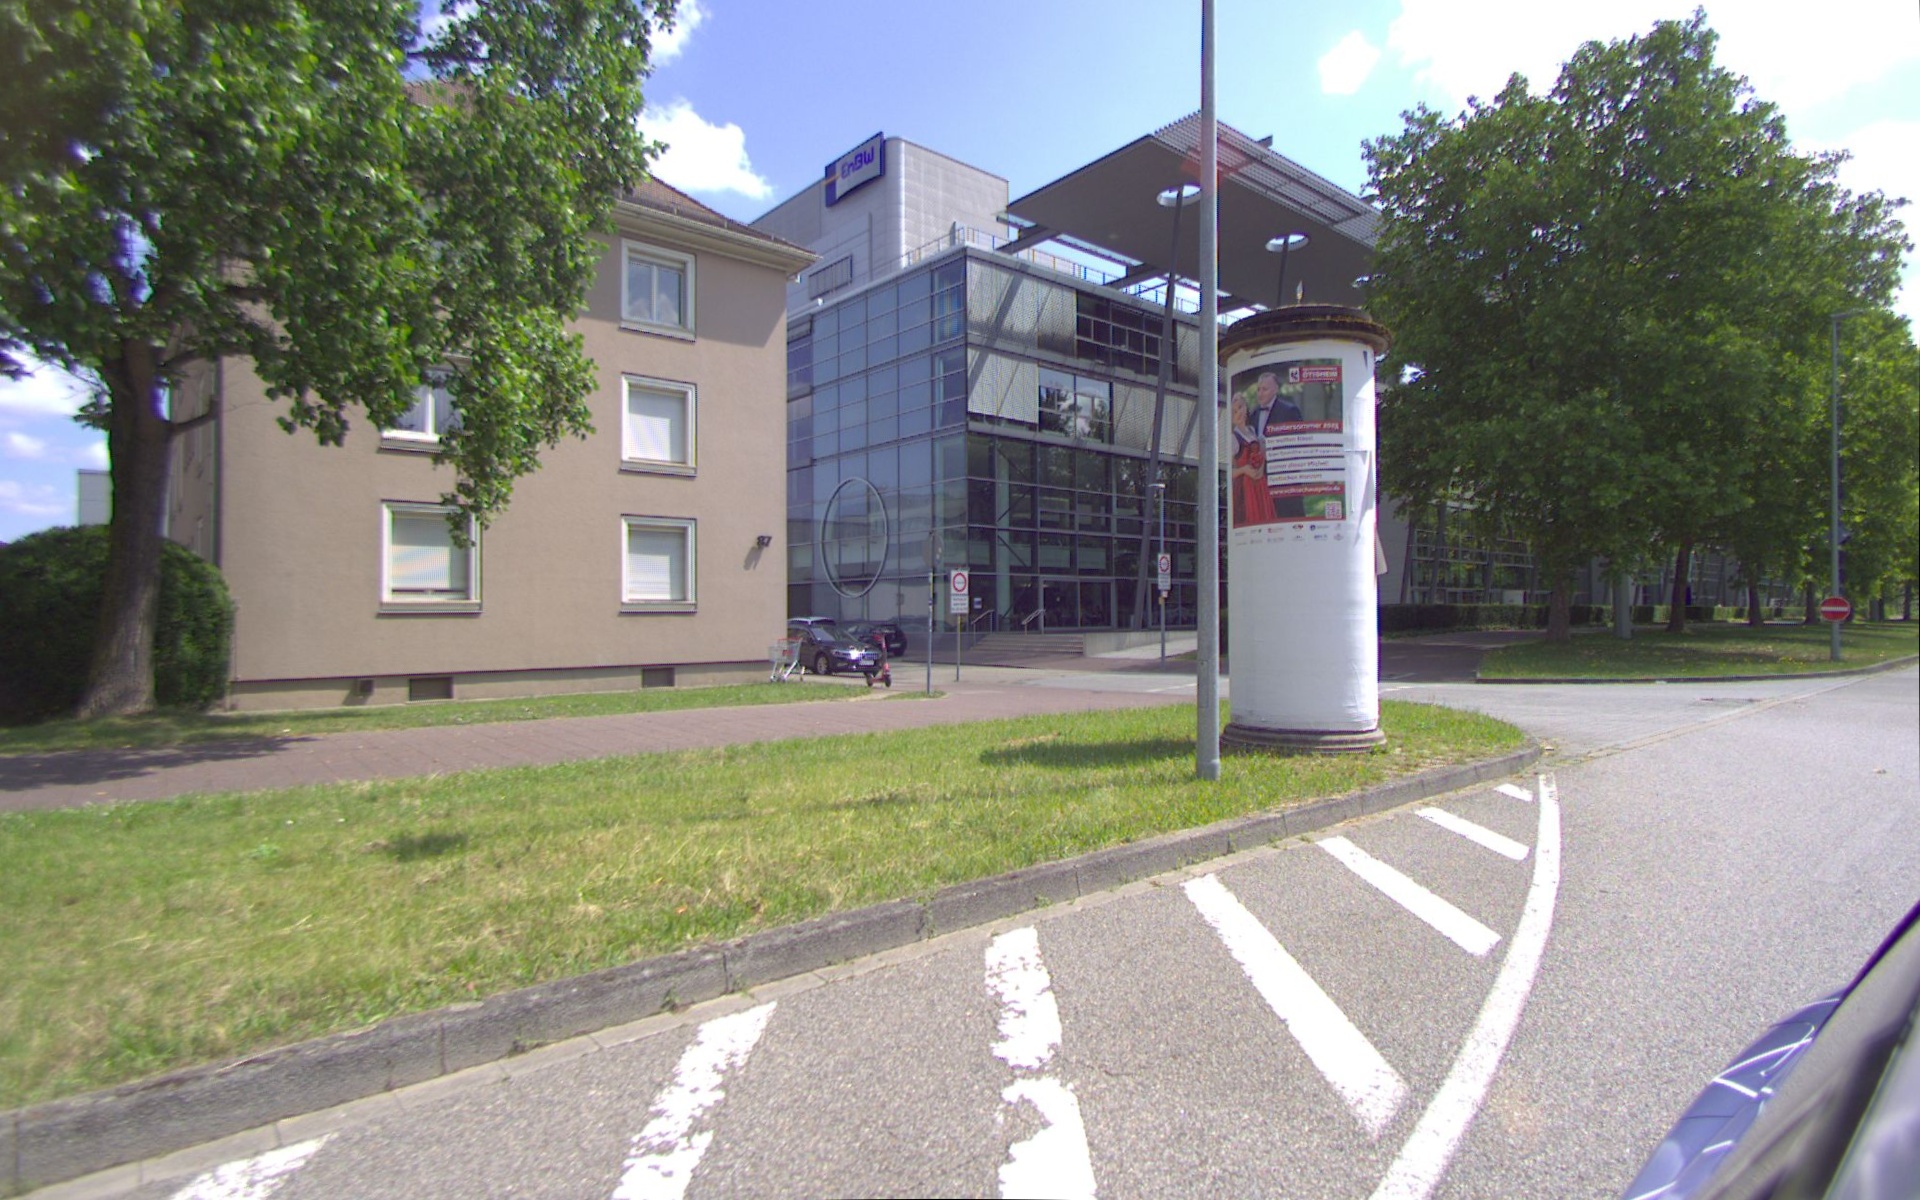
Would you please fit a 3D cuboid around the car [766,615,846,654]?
[{"bbox_3d":[-7.009,1.521,45.843,1.786,1.567,3.996,-4,2,-38],"label":"car"}]

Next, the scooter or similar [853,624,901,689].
[{"bbox_3d":[-1.775,1.177,21.466,0.536,1.320,1.446,0,-1,-25],"label":"scooter or similar"}]

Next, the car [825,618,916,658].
[{"bbox_3d":[-3.761,1.538,41.970,1.786,1.435,3.996,-4,2,-38],"label":"car"}]

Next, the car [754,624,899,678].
[{"bbox_3d":[-3.889,1.402,28.960,1.966,1.371,4.457,0,-1,-42],"label":"car"}]
